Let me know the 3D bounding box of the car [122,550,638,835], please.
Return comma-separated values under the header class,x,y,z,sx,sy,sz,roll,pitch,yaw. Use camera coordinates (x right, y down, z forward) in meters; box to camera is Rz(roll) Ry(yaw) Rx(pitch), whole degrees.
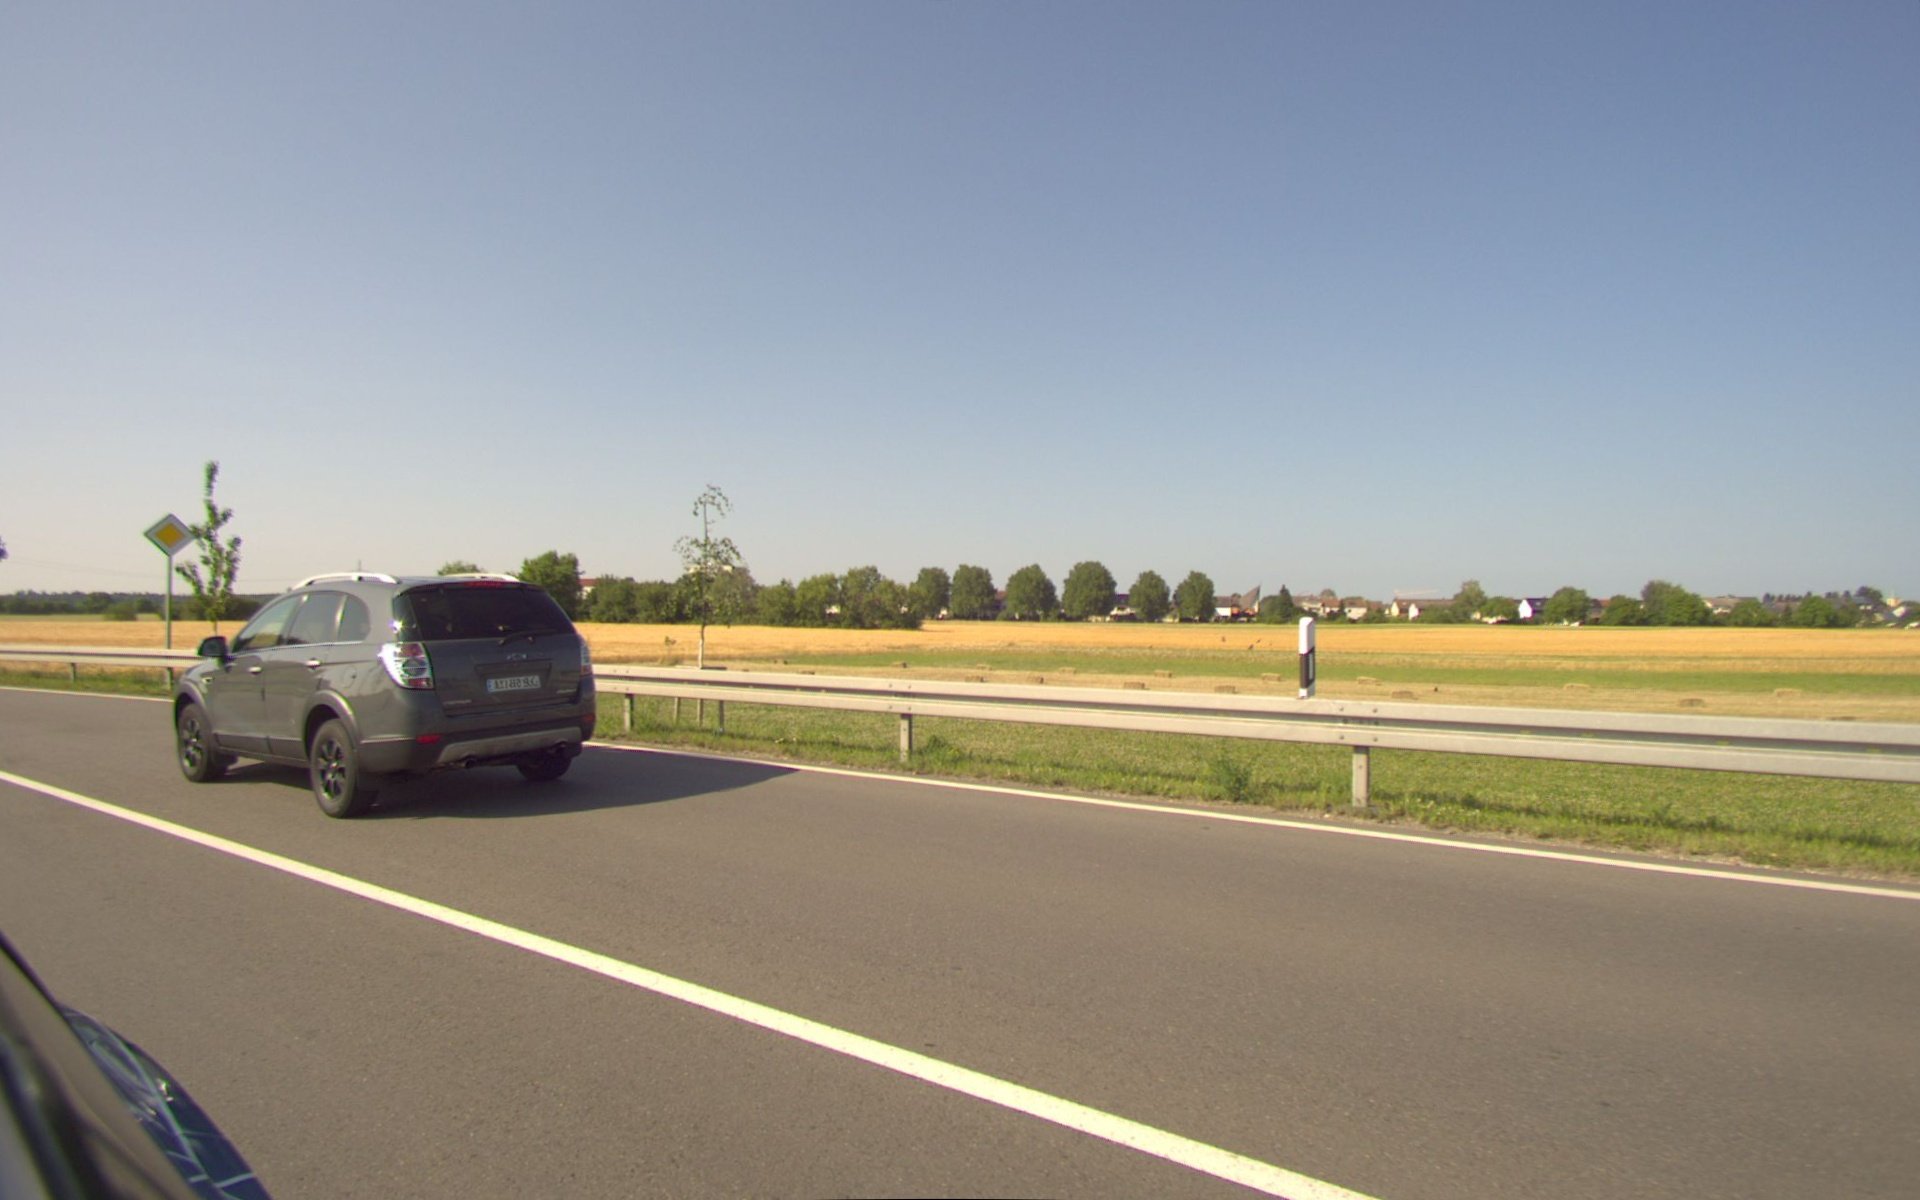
class,x,y,z,sx,sy,sz,roll,pitch,yaw
car,-5.132,0.516,8.661,5.080,1.811,1.866,1,2,35
